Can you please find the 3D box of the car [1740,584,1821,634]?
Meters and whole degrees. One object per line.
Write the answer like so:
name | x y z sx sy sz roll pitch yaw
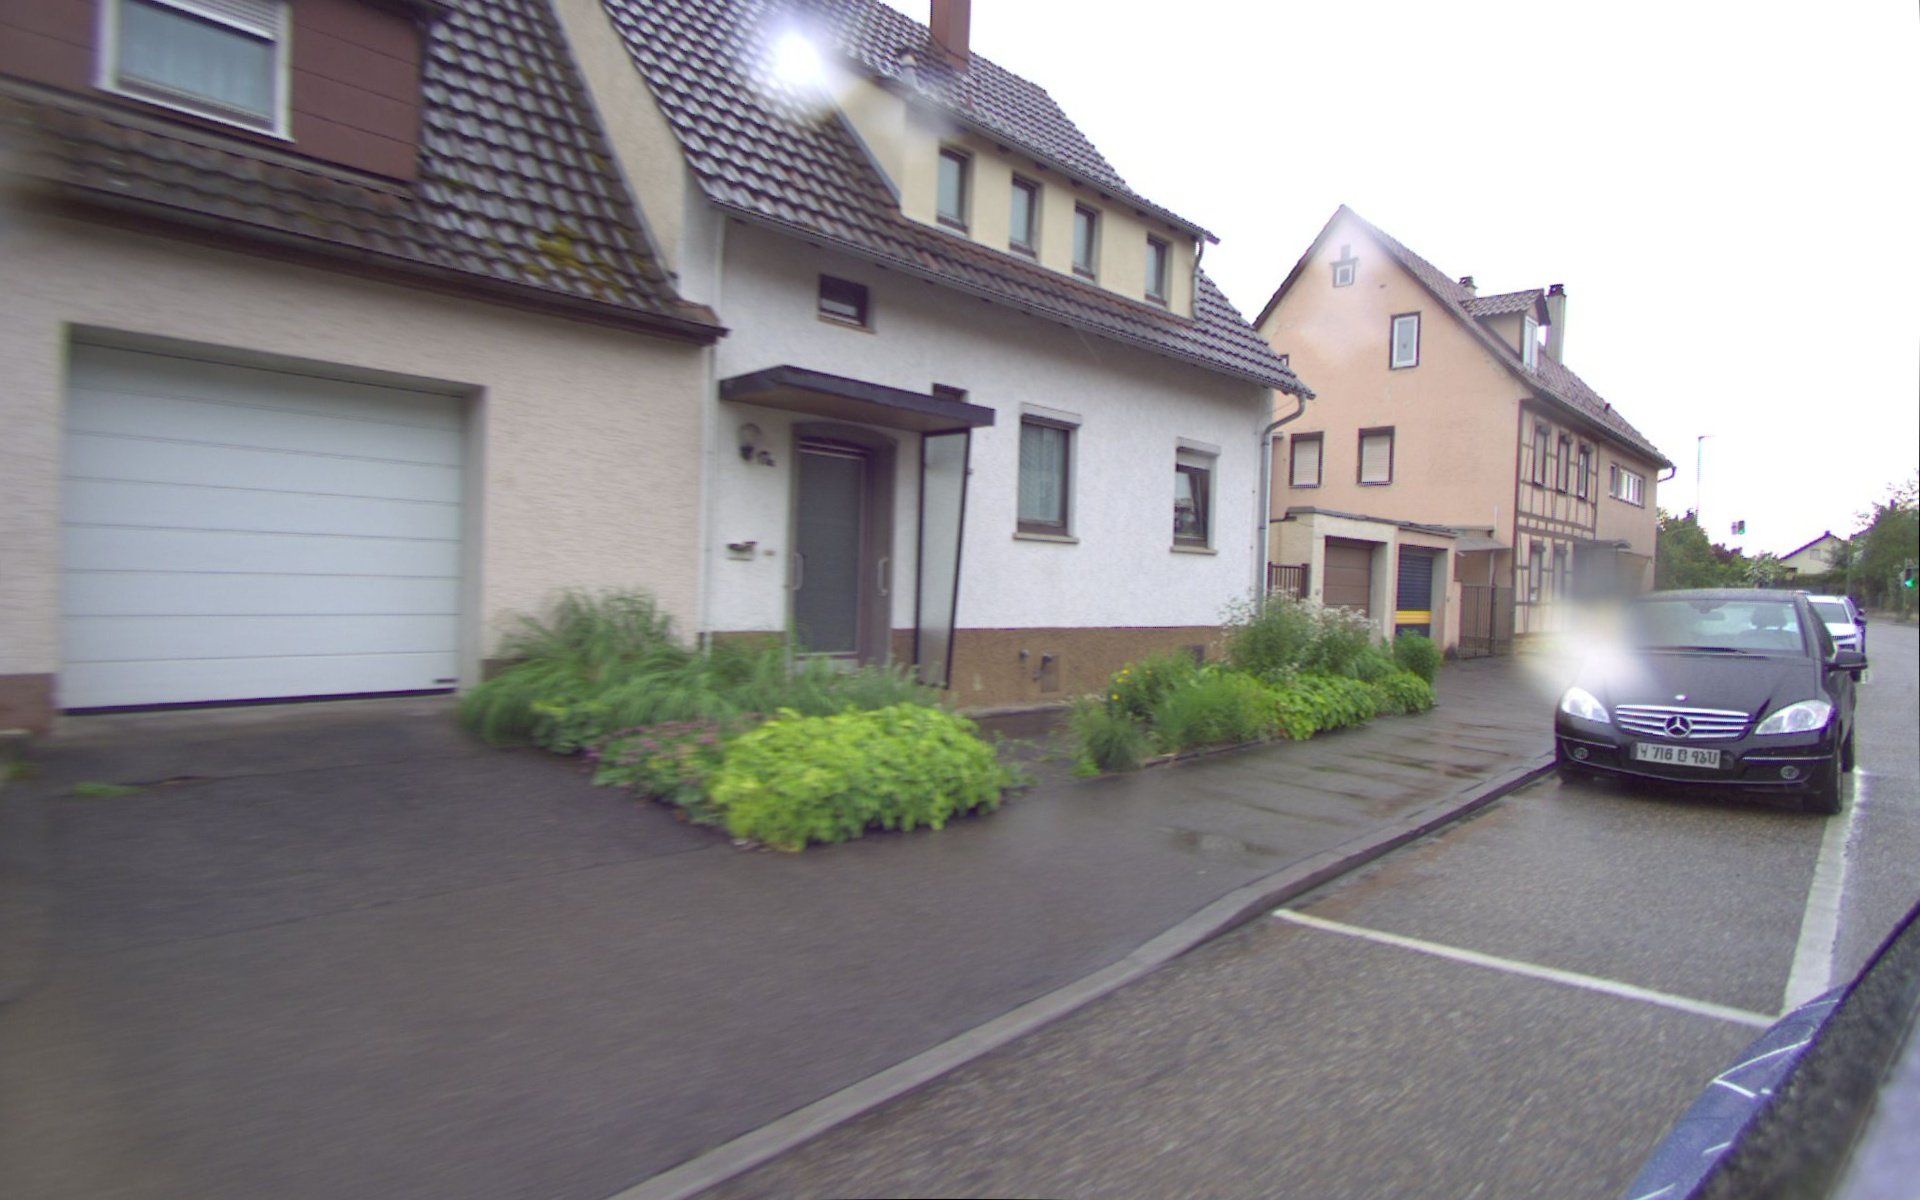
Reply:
car | 33.835 0.322 41.834 1.921 1.926 4.741 0 1 31

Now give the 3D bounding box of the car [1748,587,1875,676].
car | 17.640 0.542 20.891 1.802 1.615 4.540 1 1 43

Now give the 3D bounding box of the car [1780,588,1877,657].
car | 24.016 0.556 28.109 1.905 1.739 4.491 0 0 39

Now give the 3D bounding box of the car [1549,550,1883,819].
car | 6.539 0.506 8.575 1.750 1.731 3.936 3 2 44

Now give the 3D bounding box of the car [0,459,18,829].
car | -5.104 0.213 2.337 3.917 1.409 1.770 2 7 -25
